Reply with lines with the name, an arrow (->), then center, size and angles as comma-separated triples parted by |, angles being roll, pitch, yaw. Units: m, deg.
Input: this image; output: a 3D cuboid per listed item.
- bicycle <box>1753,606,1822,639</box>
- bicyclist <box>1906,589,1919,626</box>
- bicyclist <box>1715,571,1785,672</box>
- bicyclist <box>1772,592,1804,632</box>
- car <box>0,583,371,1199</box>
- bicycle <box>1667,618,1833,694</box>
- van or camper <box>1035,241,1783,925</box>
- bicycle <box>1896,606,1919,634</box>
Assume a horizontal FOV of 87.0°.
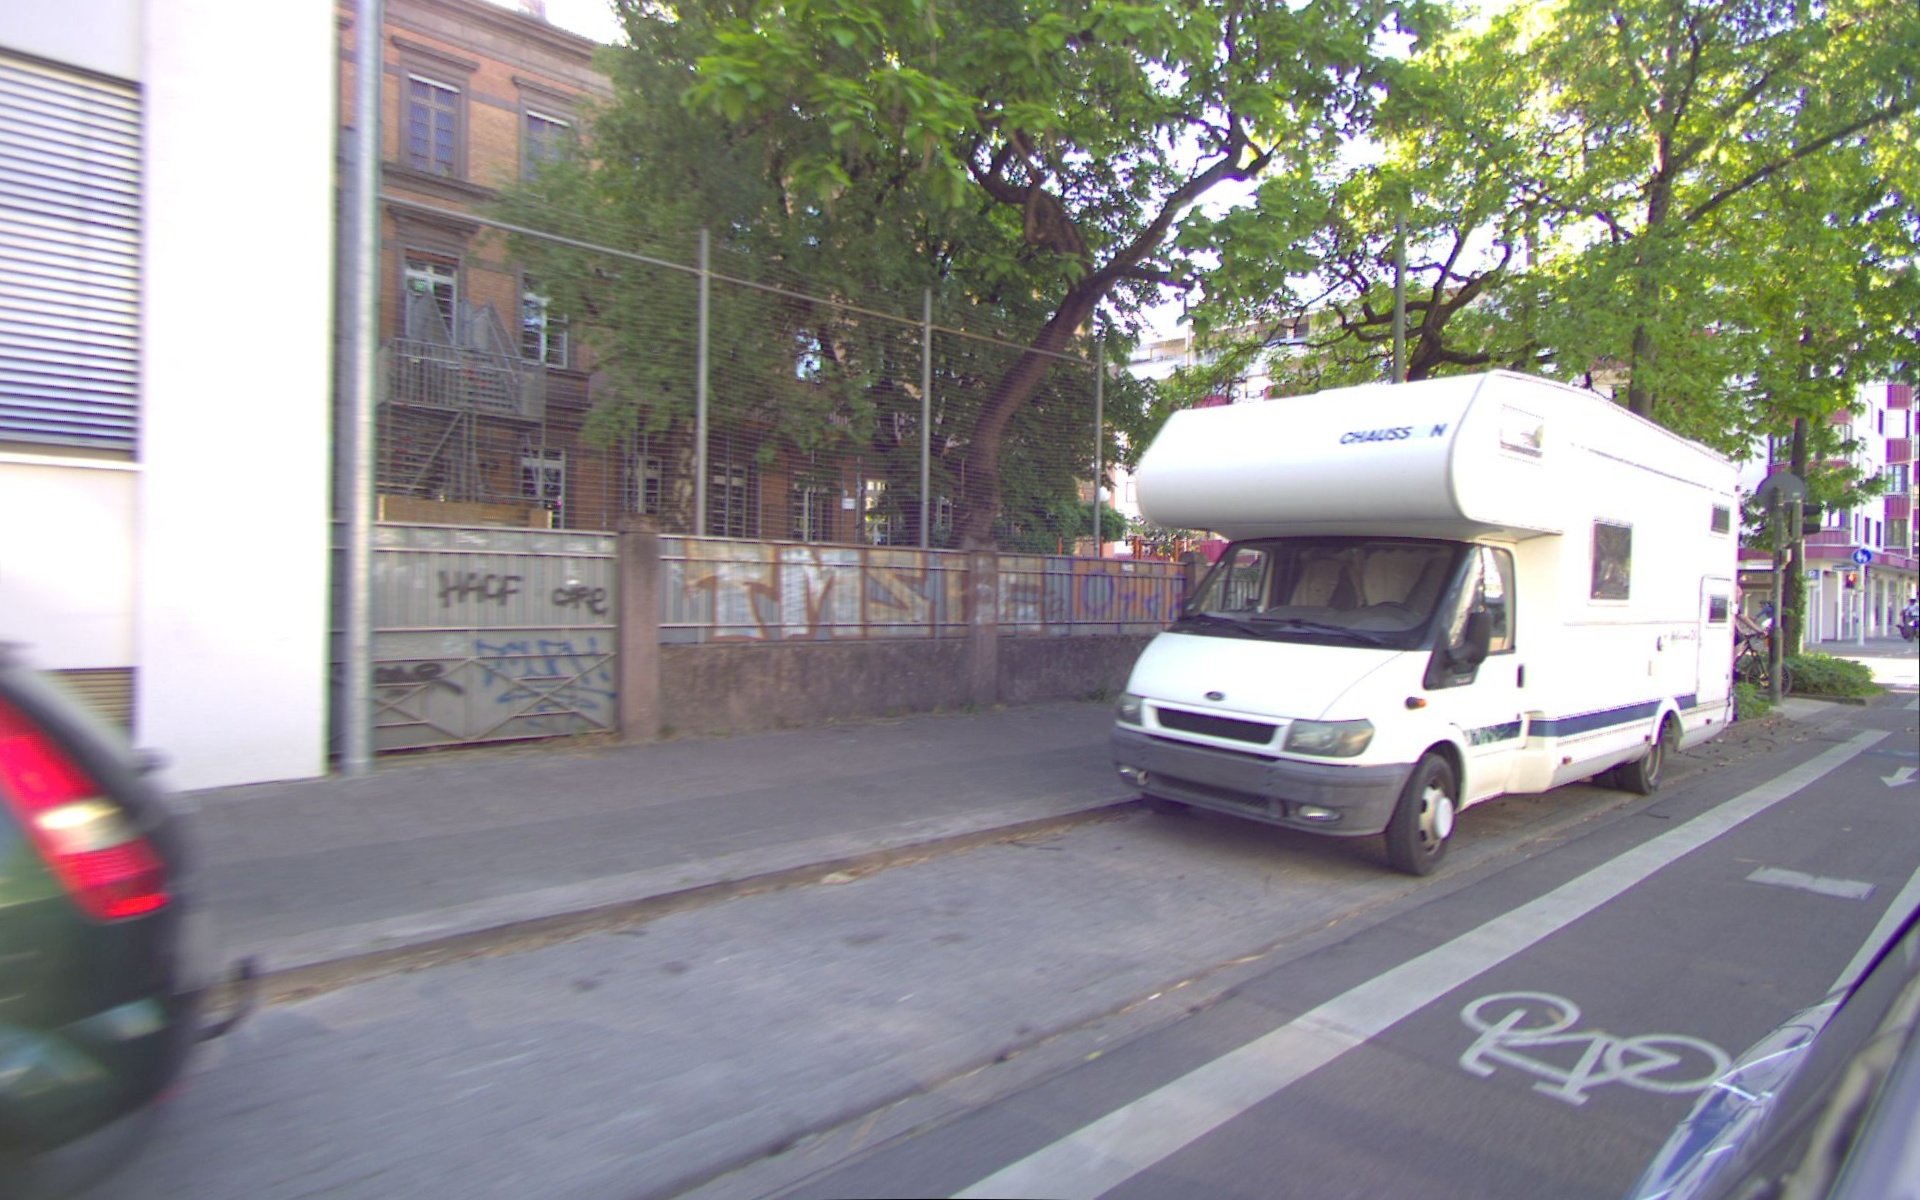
bicycle -> 31.998, 0.863, 39.163 | 2.029, 1.204, 0.583 | 0, 0, 34
bicyclist -> 41.007, 0.333, 42.786 | 1.044, 1.559, 1.075 | 1, 0, 13
bicyclist -> 12.319, 0.324, 15.799 | 0.695, 1.529, 0.744 | 1, 0, 26
bicyclist -> 32.013, 0.459, 39.156 | 0.876, 1.513, 0.715 | 0, 0, 34
car -> -3.324, 0.686, 1.499 | 3.979, 1.438, 1.688 | 0, 1, -42
bicycle -> 12.286, 0.850, 15.819 | 1.931, 1.083, 0.636 | 1, 0, 26
van or camper -> 4.108, -0.124, 8.028 | 7.418, 3.163, 2.381 | 0, 3, -41
bicycle -> 41.001, 0.863, 42.775 | 0.949, 1.198, 2.588 | 1, 0, 13
